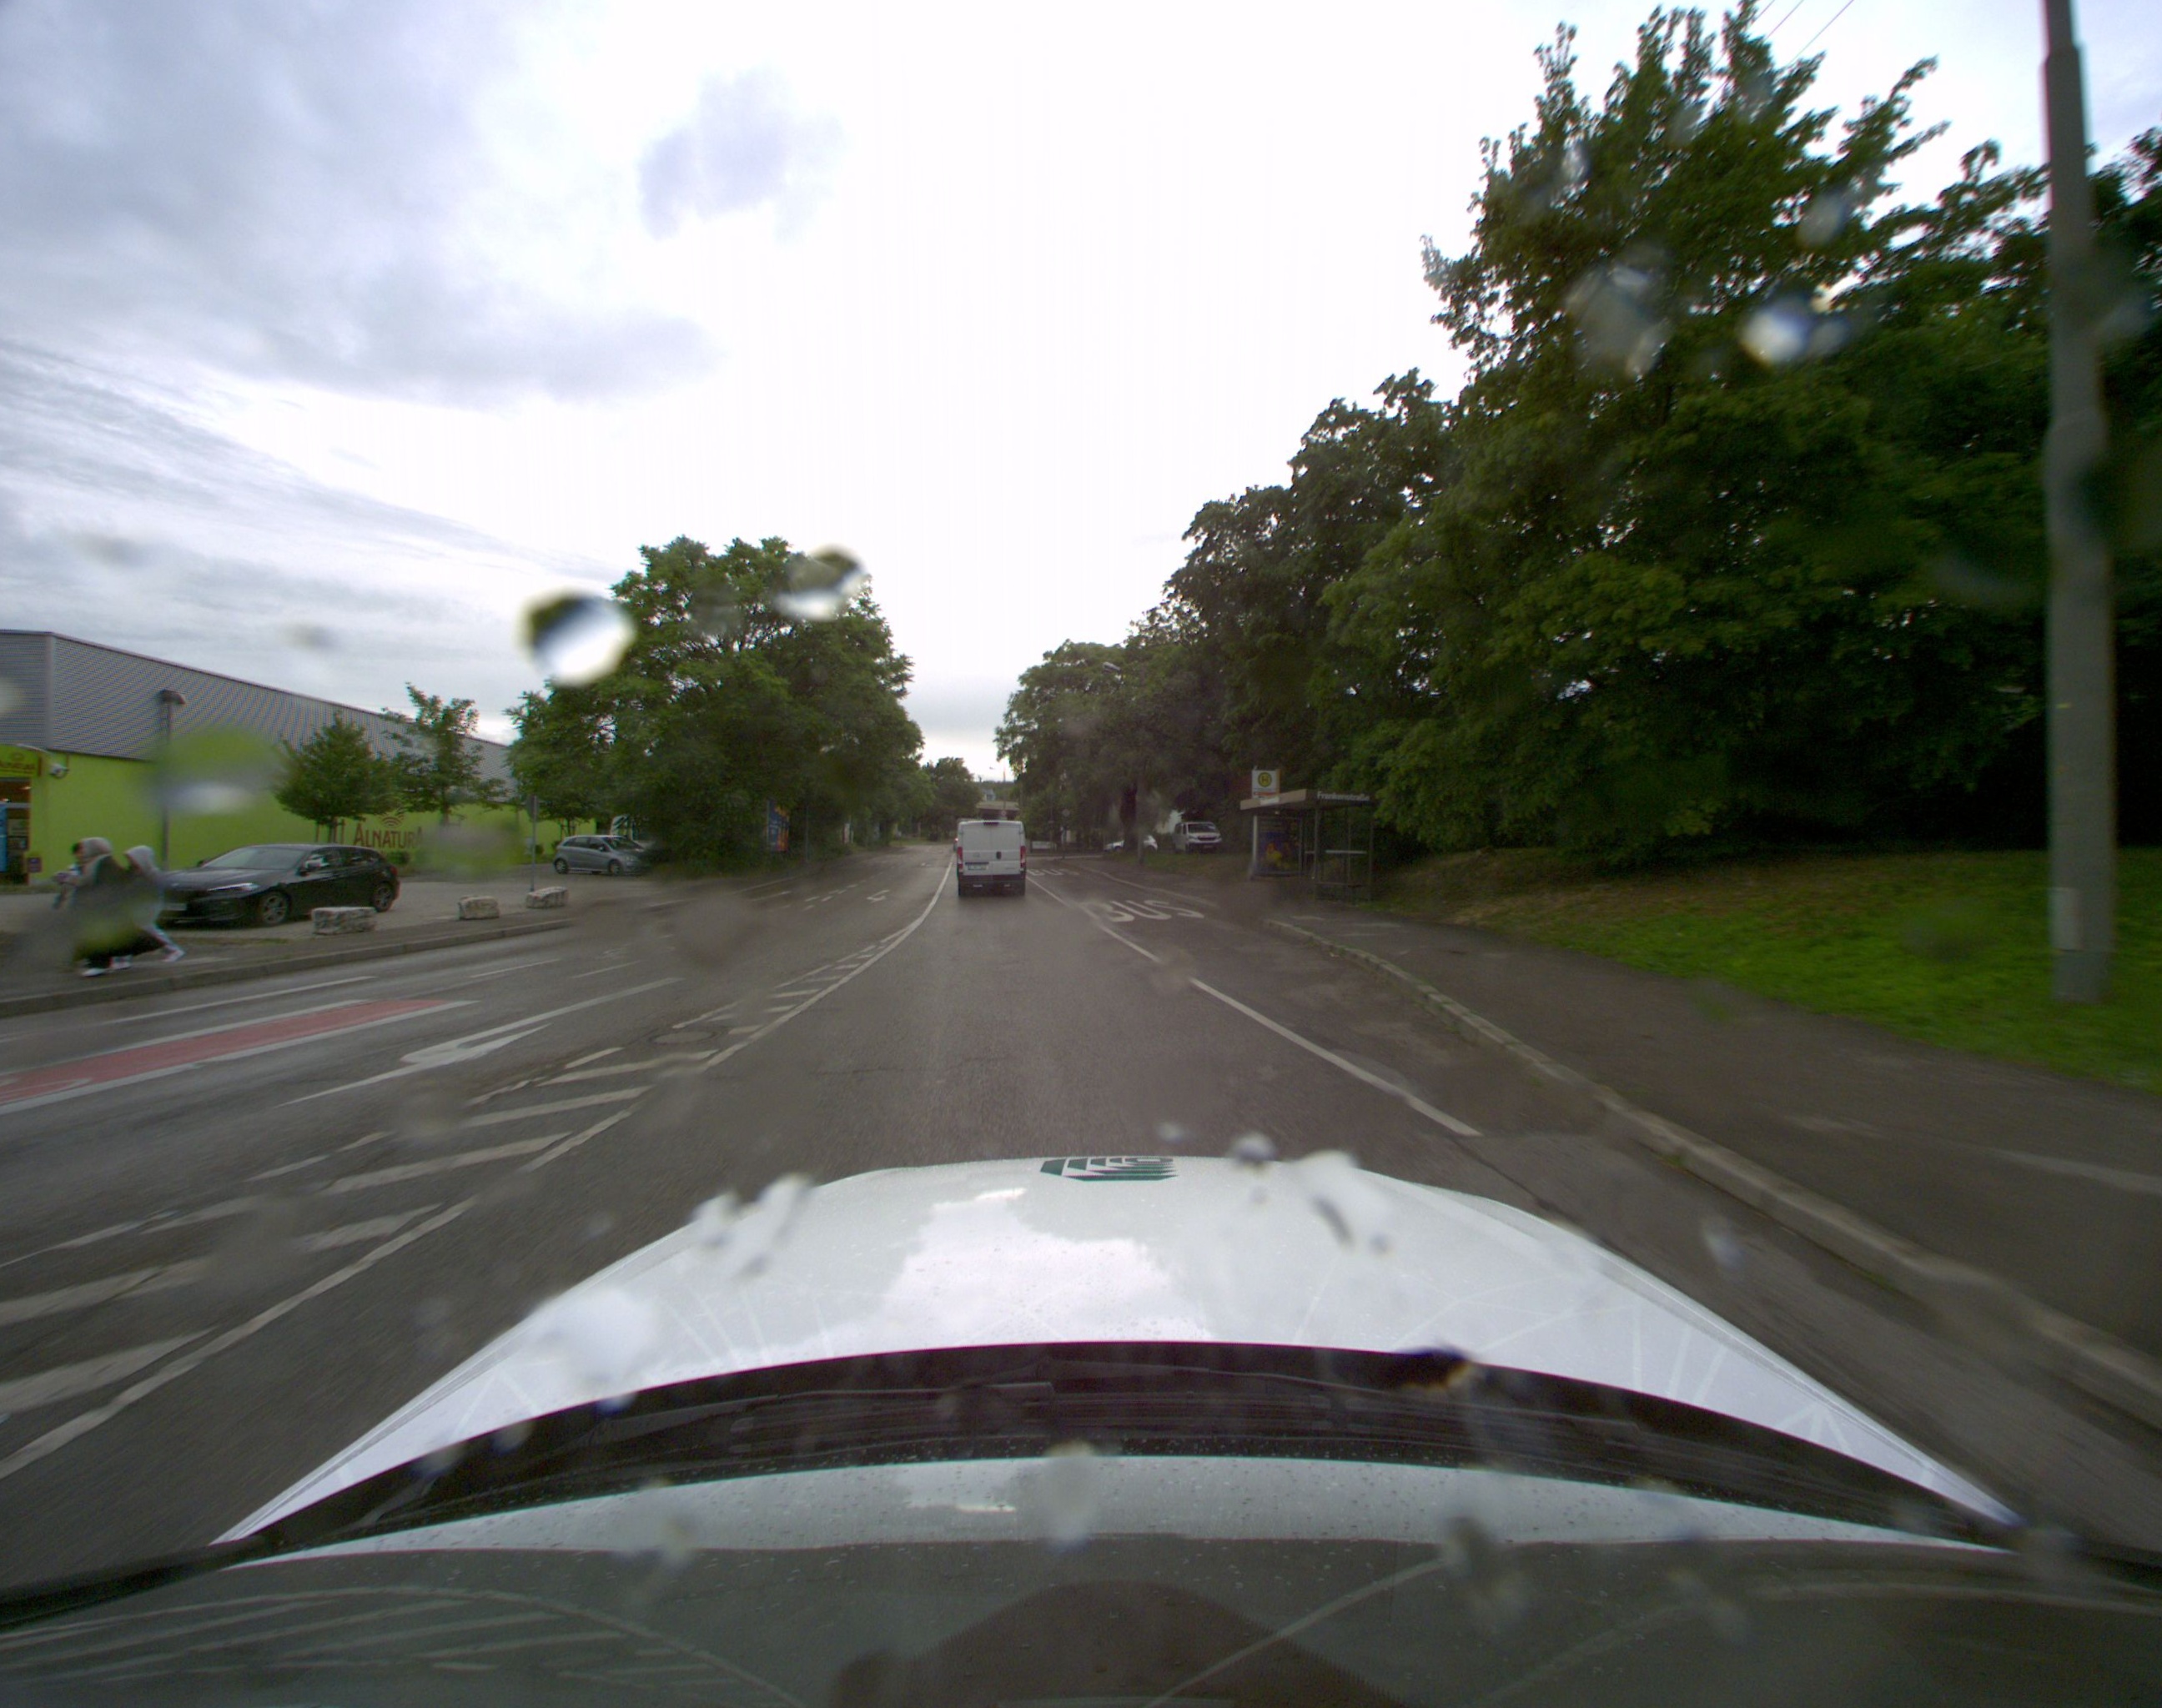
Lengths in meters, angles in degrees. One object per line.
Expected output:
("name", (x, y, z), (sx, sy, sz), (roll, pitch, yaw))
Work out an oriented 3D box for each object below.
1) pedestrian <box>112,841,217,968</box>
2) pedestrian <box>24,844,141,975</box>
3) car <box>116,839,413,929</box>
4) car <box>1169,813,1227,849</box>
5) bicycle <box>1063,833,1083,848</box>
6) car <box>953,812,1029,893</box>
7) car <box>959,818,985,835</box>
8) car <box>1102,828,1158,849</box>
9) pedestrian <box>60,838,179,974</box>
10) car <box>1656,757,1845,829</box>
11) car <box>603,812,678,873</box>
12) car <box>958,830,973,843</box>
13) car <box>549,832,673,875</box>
("pedestrian", (-12.143, 0.644, 10.809), (0.602, 1.601, 0.679), (1, 2, 5))
("pedestrian", (-12.806, 0.682, 10.461), (0.652, 1.601, 0.679), (1, 2, 5))
("car", (-15.168, 0.457, 15.529), (1.745, 1.449, 4.224), (1, 1, -7))
("car", (6.370, -1.272, 44.915), (1.991, 1.804, 5.138), (1, 2, -6))
("bicycle", (-0.660, -1.110, 66.202), (1.568, 1.114, 0.457), (-2, 2, -5))
("car", (-2.872, -0.080, 25.990), (2.144, 2.283, 5.051), (-1, 1, -7))
("car", (-19.599, -4.995, 147.354), (2.518, 3.017, 7.233), (1, 2, 11))
("car", (3.787, -1.202, 63.028), (3.989, 1.422, 1.697), (-2, 0, -12))
("pedestrian", (-11.867, 0.615, 10.070), (0.652, 1.601, 0.679), (1, 2, 5))
("car", (21.657, -1.926, 26.529), (4.285, 1.779, 1.808), (-6, 0, 12))
("car", (-19.872, -0.607, 36.621), (2.123, 2.532, 5.543), (0, 2, -38))
("car", (-14.227, -2.119, 100.369), (1.836, 1.533, 4.192), (0, 2, -8))
("car", (-18.675, -0.071, 32.409), (4.080, 1.542, 2.009), (2, 2, 17))
